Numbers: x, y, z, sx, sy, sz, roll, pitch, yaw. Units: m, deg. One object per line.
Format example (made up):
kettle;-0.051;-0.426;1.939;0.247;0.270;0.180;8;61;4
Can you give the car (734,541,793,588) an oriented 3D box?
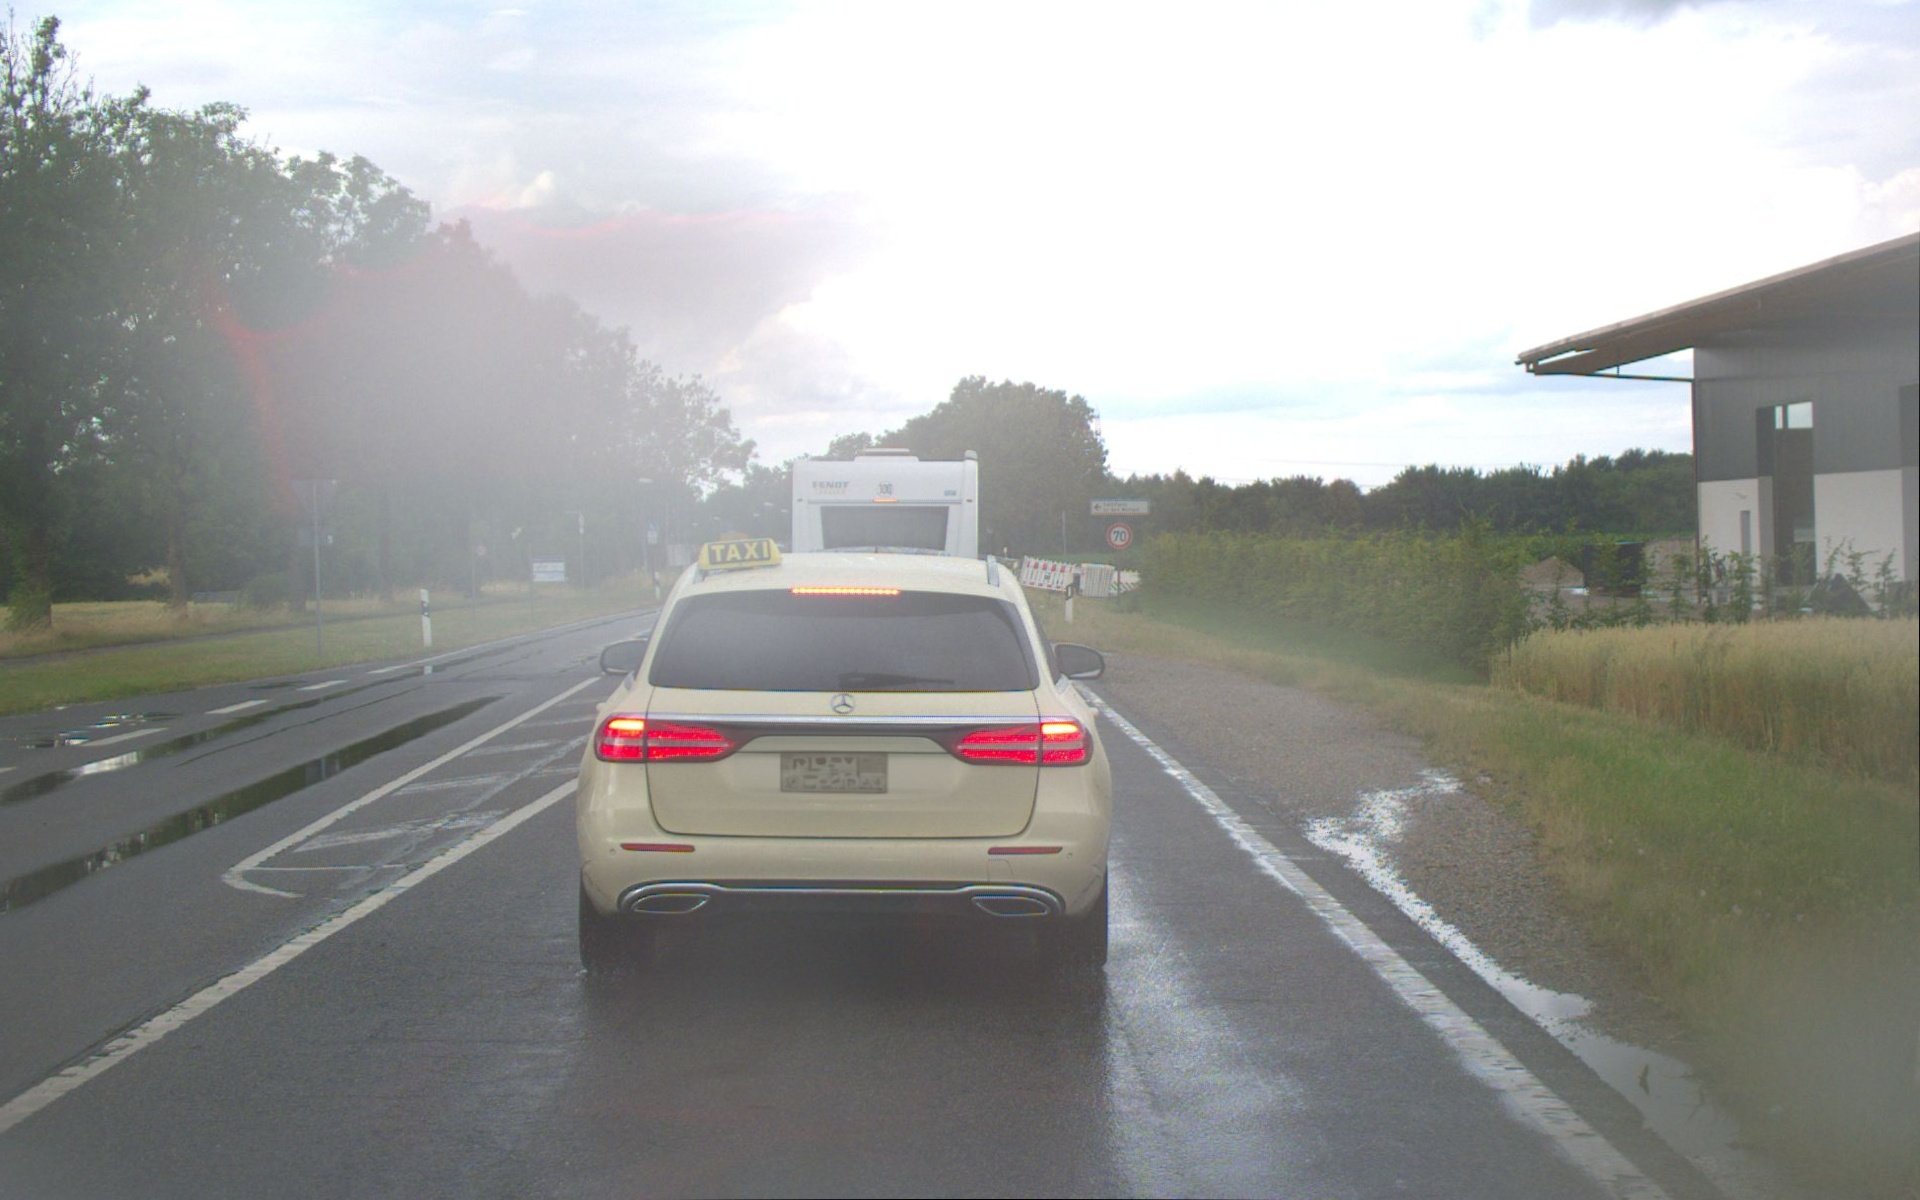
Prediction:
car;-7.068;-1.295;123.982;1.916;1.626;4.357;-2;1;-1

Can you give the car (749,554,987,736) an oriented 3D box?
car;-0.784;0.334;29.445;1.894;1.424;3.928;0;1;-1

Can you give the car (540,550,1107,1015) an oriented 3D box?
car;-0.451;0.552;12.946;1.797;1.459;4.031;0;1;-1

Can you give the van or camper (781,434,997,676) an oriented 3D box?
van or camper;-0.852;-0.585;44.250;2.497;2.821;5.934;-2;1;0
